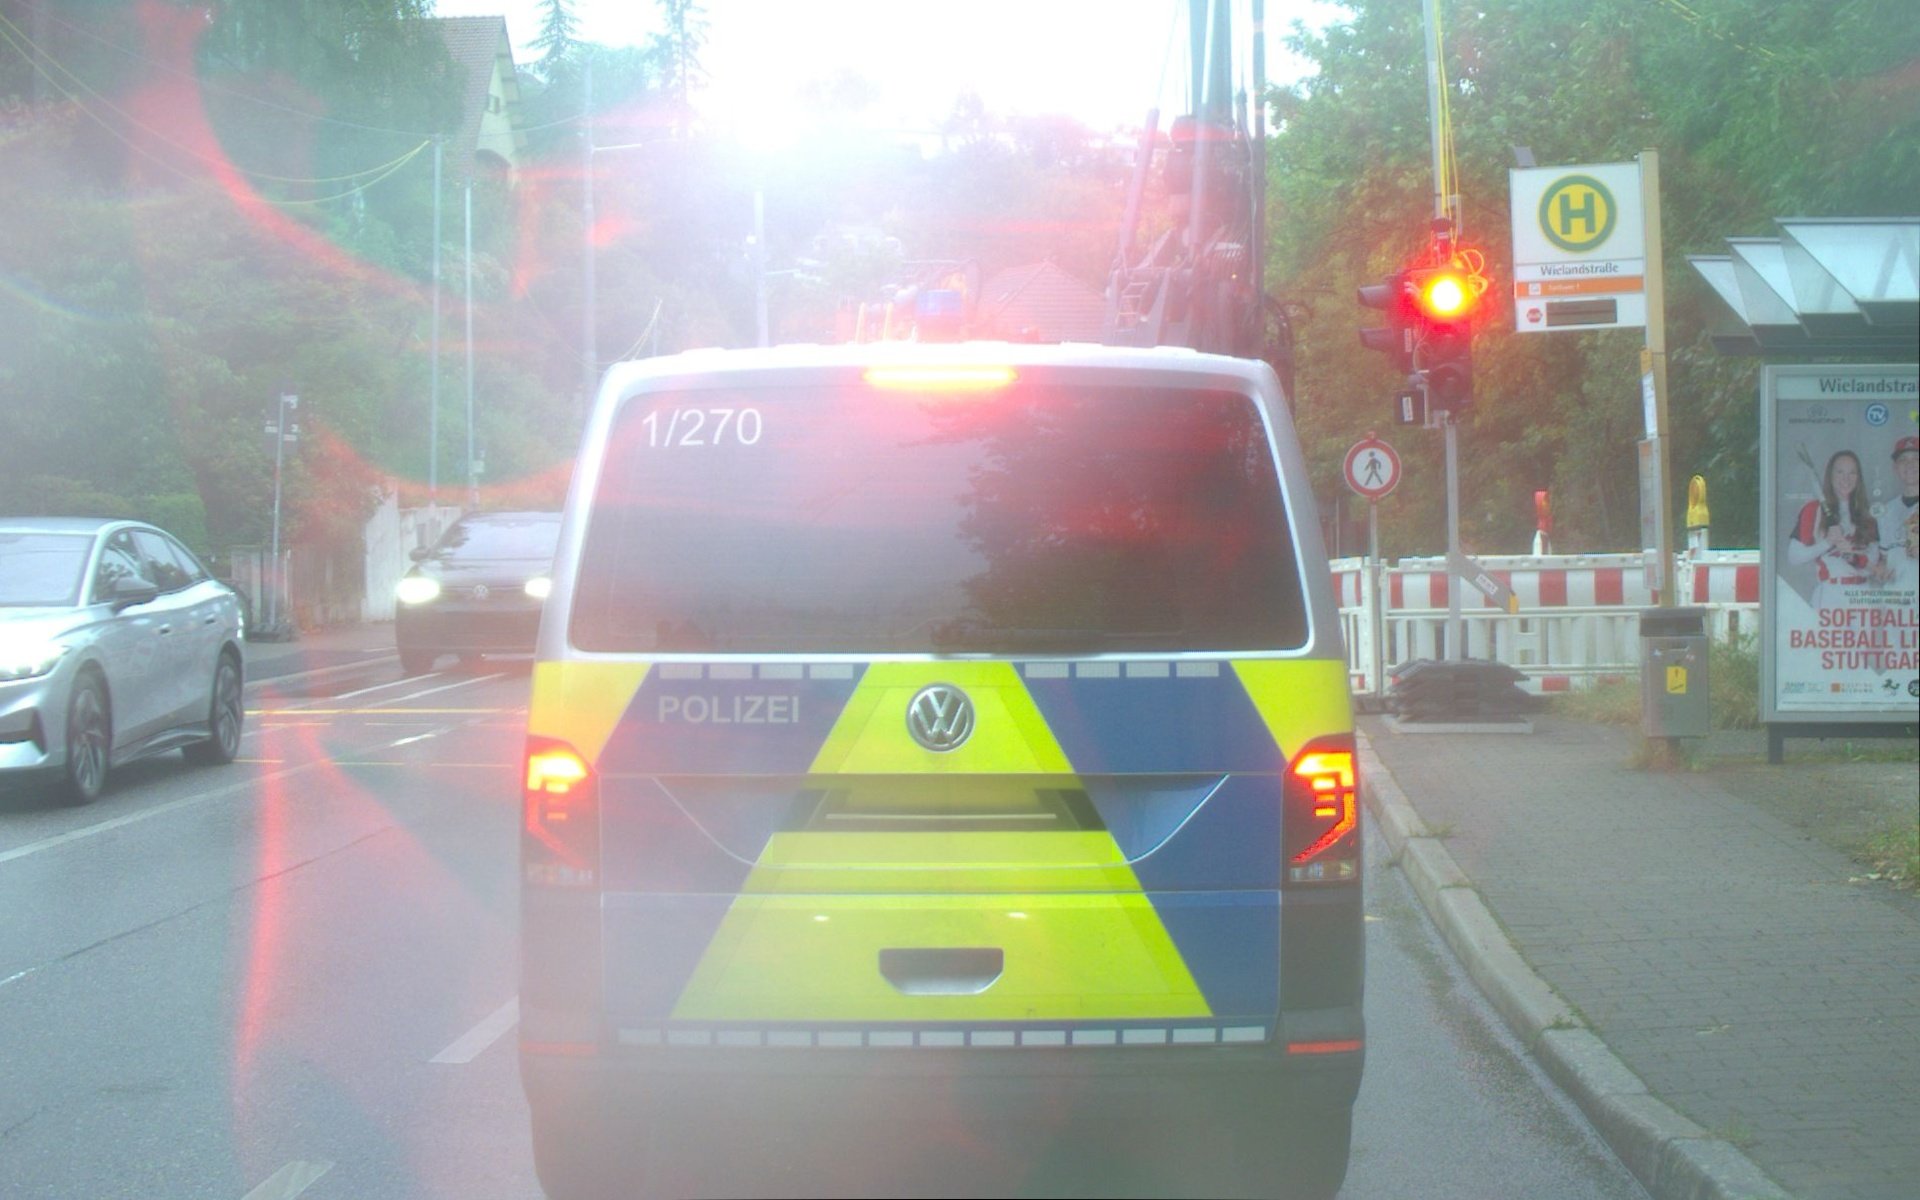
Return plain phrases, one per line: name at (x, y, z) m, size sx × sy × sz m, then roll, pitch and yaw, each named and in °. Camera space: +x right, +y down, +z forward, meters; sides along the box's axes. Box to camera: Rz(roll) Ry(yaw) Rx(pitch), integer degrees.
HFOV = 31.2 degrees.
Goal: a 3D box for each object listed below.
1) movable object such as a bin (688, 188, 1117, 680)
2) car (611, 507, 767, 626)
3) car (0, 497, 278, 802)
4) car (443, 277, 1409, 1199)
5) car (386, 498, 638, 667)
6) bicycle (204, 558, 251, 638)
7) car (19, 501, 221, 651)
movable object such as a bin at (-0.421, -1.469, 31.631) m, size 2.832 × 4.163 × 4.378 m, roll 1°, pitch 1°, yaw 15°
car at (-3.991, -0.518, 51.378) m, size 1.993 × 1.668 × 4.688 m, roll 1°, pitch 1°, yaw -1°
car at (-5.393, 0.233, 19.600) m, size 1.853 × 1.522 × 4.819 m, roll -1°, pitch 1°, yaw 2°
car at (-0.093, 0.353, 8.832) m, size 1.893 × 2.043 × 4.000 m, roll 1°, pitch 1°, yaw -1°
car at (-4.536, -0.202, 35.348) m, size 1.867 × 1.616 × 4.164 m, roll 1°, pitch 1°, yaw 2°
bicycle at (-8.442, -0.032, 39.592) m, size 0.462 × 0.894 × 1.634 m, roll 0°, pitch 1°, yaw -15°
car at (-9.324, -0.291, 37.975) m, size 1.765 × 1.481 × 3.743 m, roll 1°, pitch 3°, yaw -20°
